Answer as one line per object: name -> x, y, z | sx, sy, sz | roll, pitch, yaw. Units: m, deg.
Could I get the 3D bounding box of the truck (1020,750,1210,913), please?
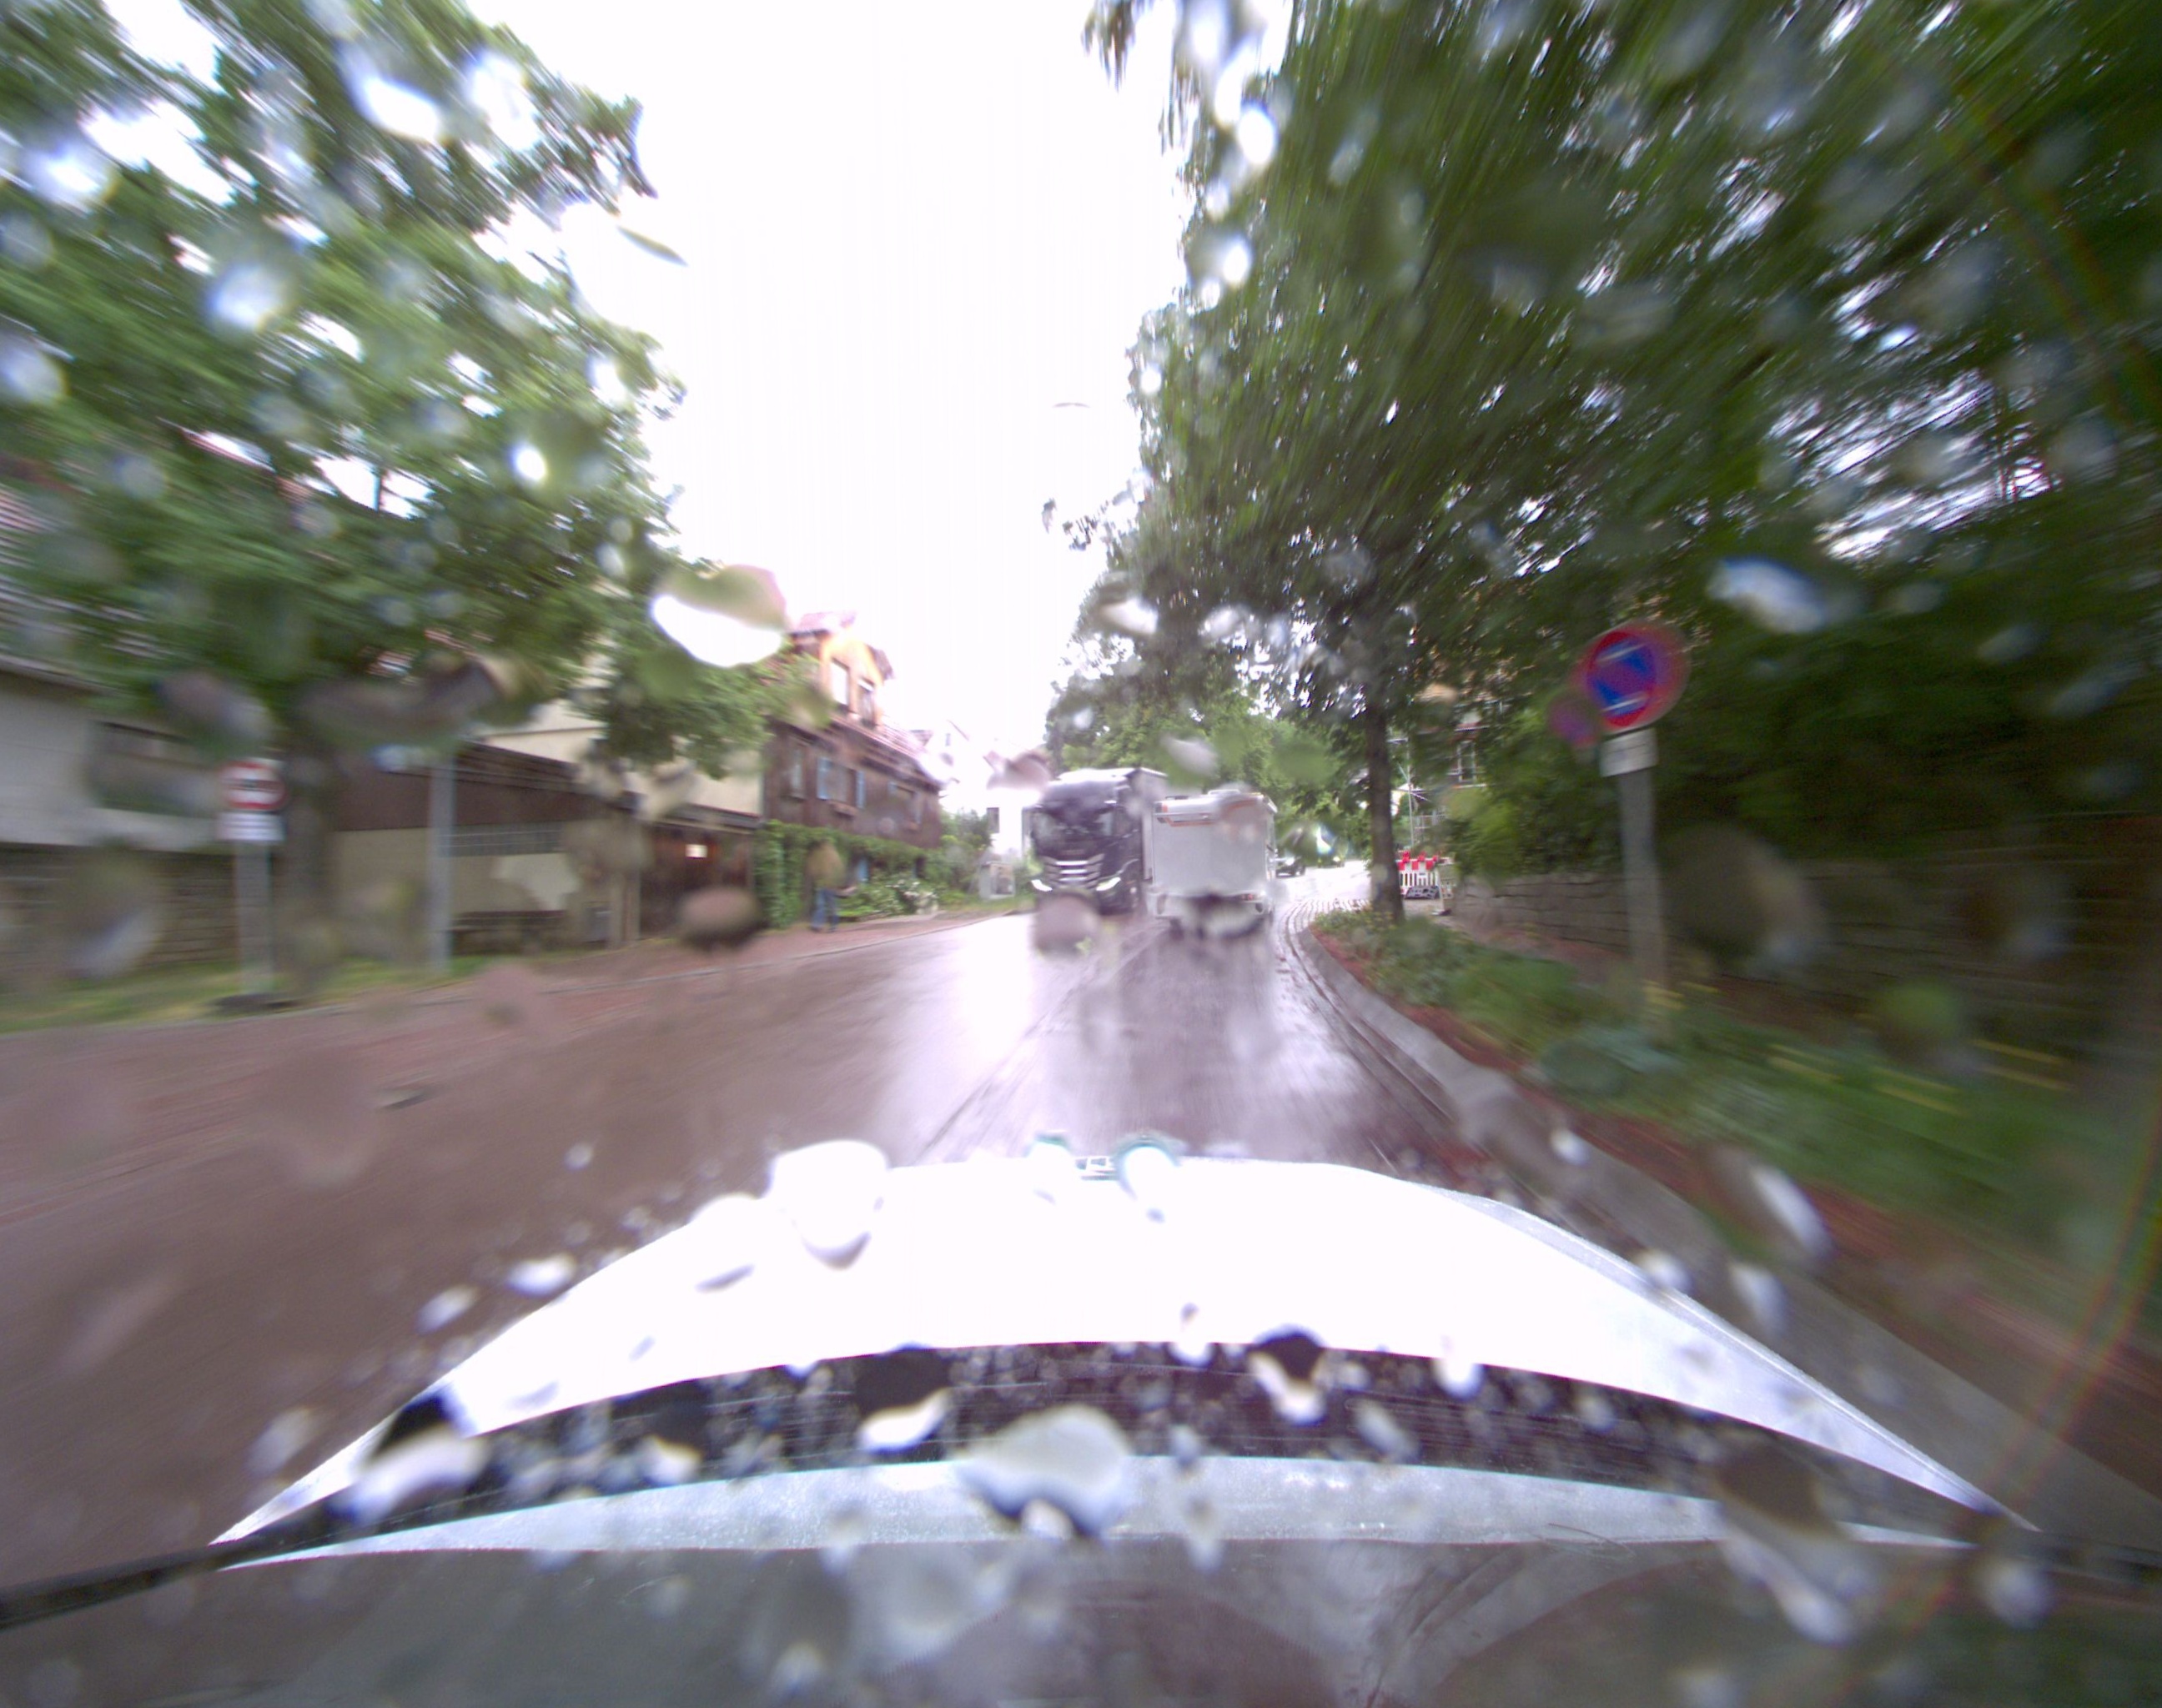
truck -> 1.573, -0.563, 25.914 | 2.813, 4.166, 10.029 | -1, 0, 22

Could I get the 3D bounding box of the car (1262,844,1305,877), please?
car -> 12.158, 0.378, 48.841 | 1.818, 1.850, 4.022 | -2, -1, 23

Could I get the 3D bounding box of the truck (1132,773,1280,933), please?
truck -> 3.082, 0.046, 18.529 | 2.675, 2.986, 6.260 | -2, -1, 14

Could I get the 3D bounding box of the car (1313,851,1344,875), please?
car -> 20.477, 0.717, 67.283 | 1.976, 1.895, 4.022 | -2, -1, 23

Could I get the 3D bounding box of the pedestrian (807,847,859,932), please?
pedestrian -> -5.613, 0.799, 18.451 | 0.789, 1.868, 0.918 | -1, -1, 7
